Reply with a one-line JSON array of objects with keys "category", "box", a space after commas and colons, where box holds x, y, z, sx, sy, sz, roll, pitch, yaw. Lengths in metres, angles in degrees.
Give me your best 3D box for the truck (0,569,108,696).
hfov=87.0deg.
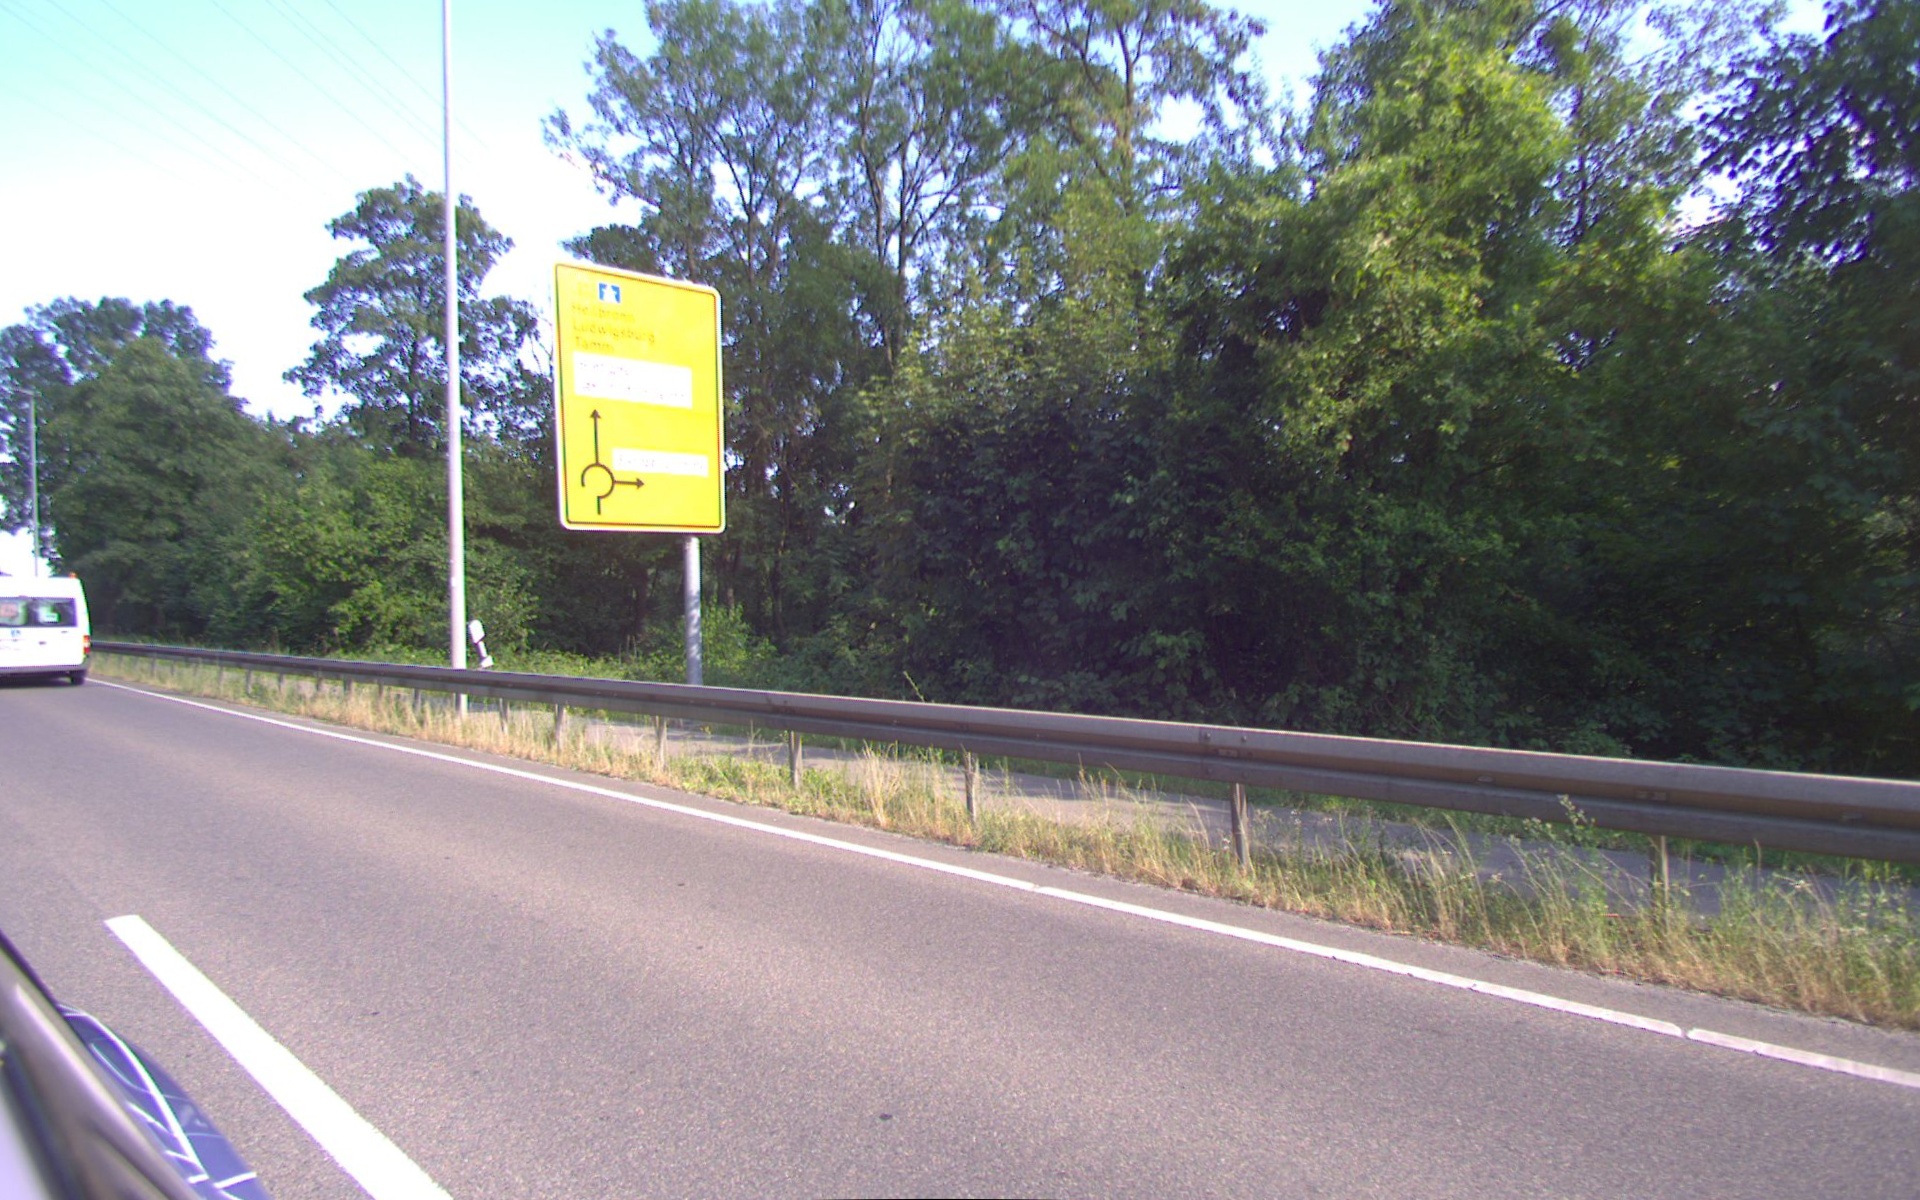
[{"category": "truck", "box": [-20.077, 0.654, 21.560, 5.869, 2.403, 2.036, -1, -1, 41]}]
